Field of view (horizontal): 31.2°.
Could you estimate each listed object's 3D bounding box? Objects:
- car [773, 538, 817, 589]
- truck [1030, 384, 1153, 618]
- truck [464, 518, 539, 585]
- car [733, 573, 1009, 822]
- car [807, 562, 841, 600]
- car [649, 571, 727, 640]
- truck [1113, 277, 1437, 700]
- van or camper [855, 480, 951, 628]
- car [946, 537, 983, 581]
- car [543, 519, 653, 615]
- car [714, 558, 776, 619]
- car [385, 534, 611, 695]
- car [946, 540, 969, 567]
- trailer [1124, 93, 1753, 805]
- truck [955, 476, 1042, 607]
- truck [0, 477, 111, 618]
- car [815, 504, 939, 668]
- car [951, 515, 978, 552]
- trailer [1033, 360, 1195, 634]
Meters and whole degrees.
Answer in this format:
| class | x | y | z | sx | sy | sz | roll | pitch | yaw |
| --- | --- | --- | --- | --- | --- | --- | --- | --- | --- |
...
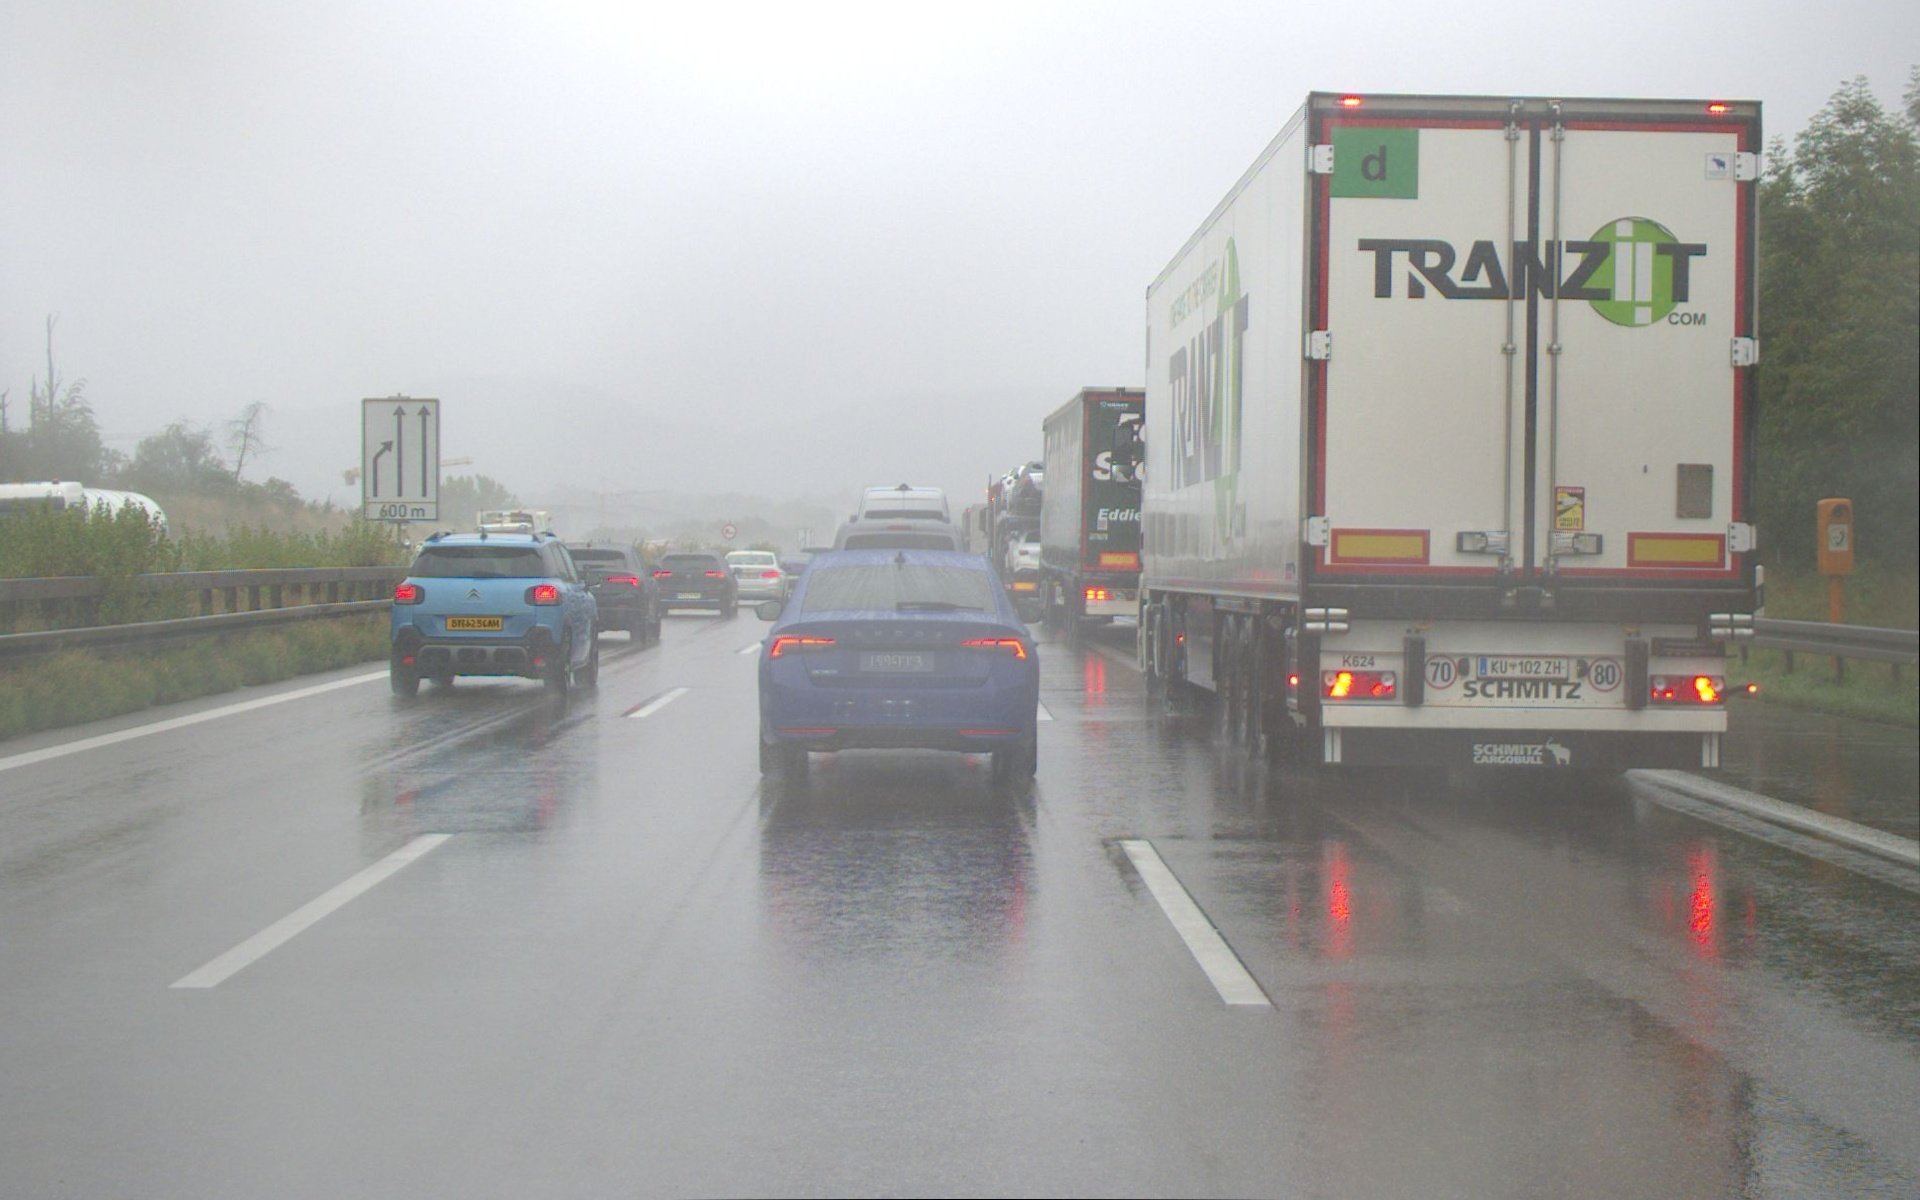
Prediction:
| class | x | y | z | sx | sy | sz | roll | pitch | yaw |
| --- | --- | --- | --- | --- | --- | --- | --- | --- | --- |
| car | -5.876 | -1.309 | 122.702 | 1.448 | 1.777 | 3.409 | 1 | 1 | -1 |
| truck | 2.391 | -1.810 | 63.560 | 2.047 | 4.178 | 4.000 | 0 | 1 | -1 |
| truck | -19.320 | -2.029 | 145.198 | 2.481 | 2.710 | 4.528 | -1 | 0 | 0 |
| car | -0.529 | 0.565 | 22.437 | 1.635 | 1.440 | 4.000 | 0 | 1 | 0 |
| car | -6.424 | -0.908 | 162.602 | 1.448 | 1.777 | 3.409 | 1 | 1 | -1 |
| car | -5.854 | 0.105 | 74.228 | 1.439 | 1.415 | 3.322 | 0 | 1 | -1 |
| truck | 2.956 | -1.059 | 33.517 | 2.630 | 3.814 | 4.791 | 0 | 1 | -1 |
| van or camper | -1.114 | -0.923 | 67.441 | 1.797 | 2.797 | 4.768 | 0 | 1 | -1 |
| car | 0.173 | -1.707 | 143.590 | 1.448 | 1.777 | 3.409 | 1 | 1 | -1 |
| car | -5.552 | -0.530 | 52.974 | 1.359 | 1.426 | 3.364 | 0 | 1 | -1 |
| car | -5.562 | -0.320 | 89.162 | 1.439 | 1.528 | 3.322 | 0 | 1 | -1 |
| car | -4.598 | 0.108 | 34.681 | 1.721 | 1.518 | 4.000 | 0 | 1 | 0 |
| car | -0.169 | -3.116 | 231.995 | 1.448 | 1.777 | 3.409 | 1 | 1 | -1 |
| trailer | 3.046 | -0.997 | 26.697 | 2.630 | 3.999 | 14.630 | 0 | 1 | -1 |
| truck | 1.013 | -1.639 | 93.969 | 1.993 | 3.410 | 8.033 | 0 | 1 | -2 |
| truck | -22.448 | -1.212 | 83.222 | 2.541 | 3.269 | 5.199 | -2 | 0 | -2 |
| car | -0.920 | -0.185 | 39.008 | 1.336 | 1.773 | 3.322 | 0 | 1 | -1 |
| car | 0.210 | -3.418 | 177.866 | 1.335 | 1.883 | 3.040 | -1 | 1 | -1 |
| trailer | 2.469 | -1.689 | 58.085 | 2.047 | 4.162 | 11.449 | 0 | 1 | -1 |
